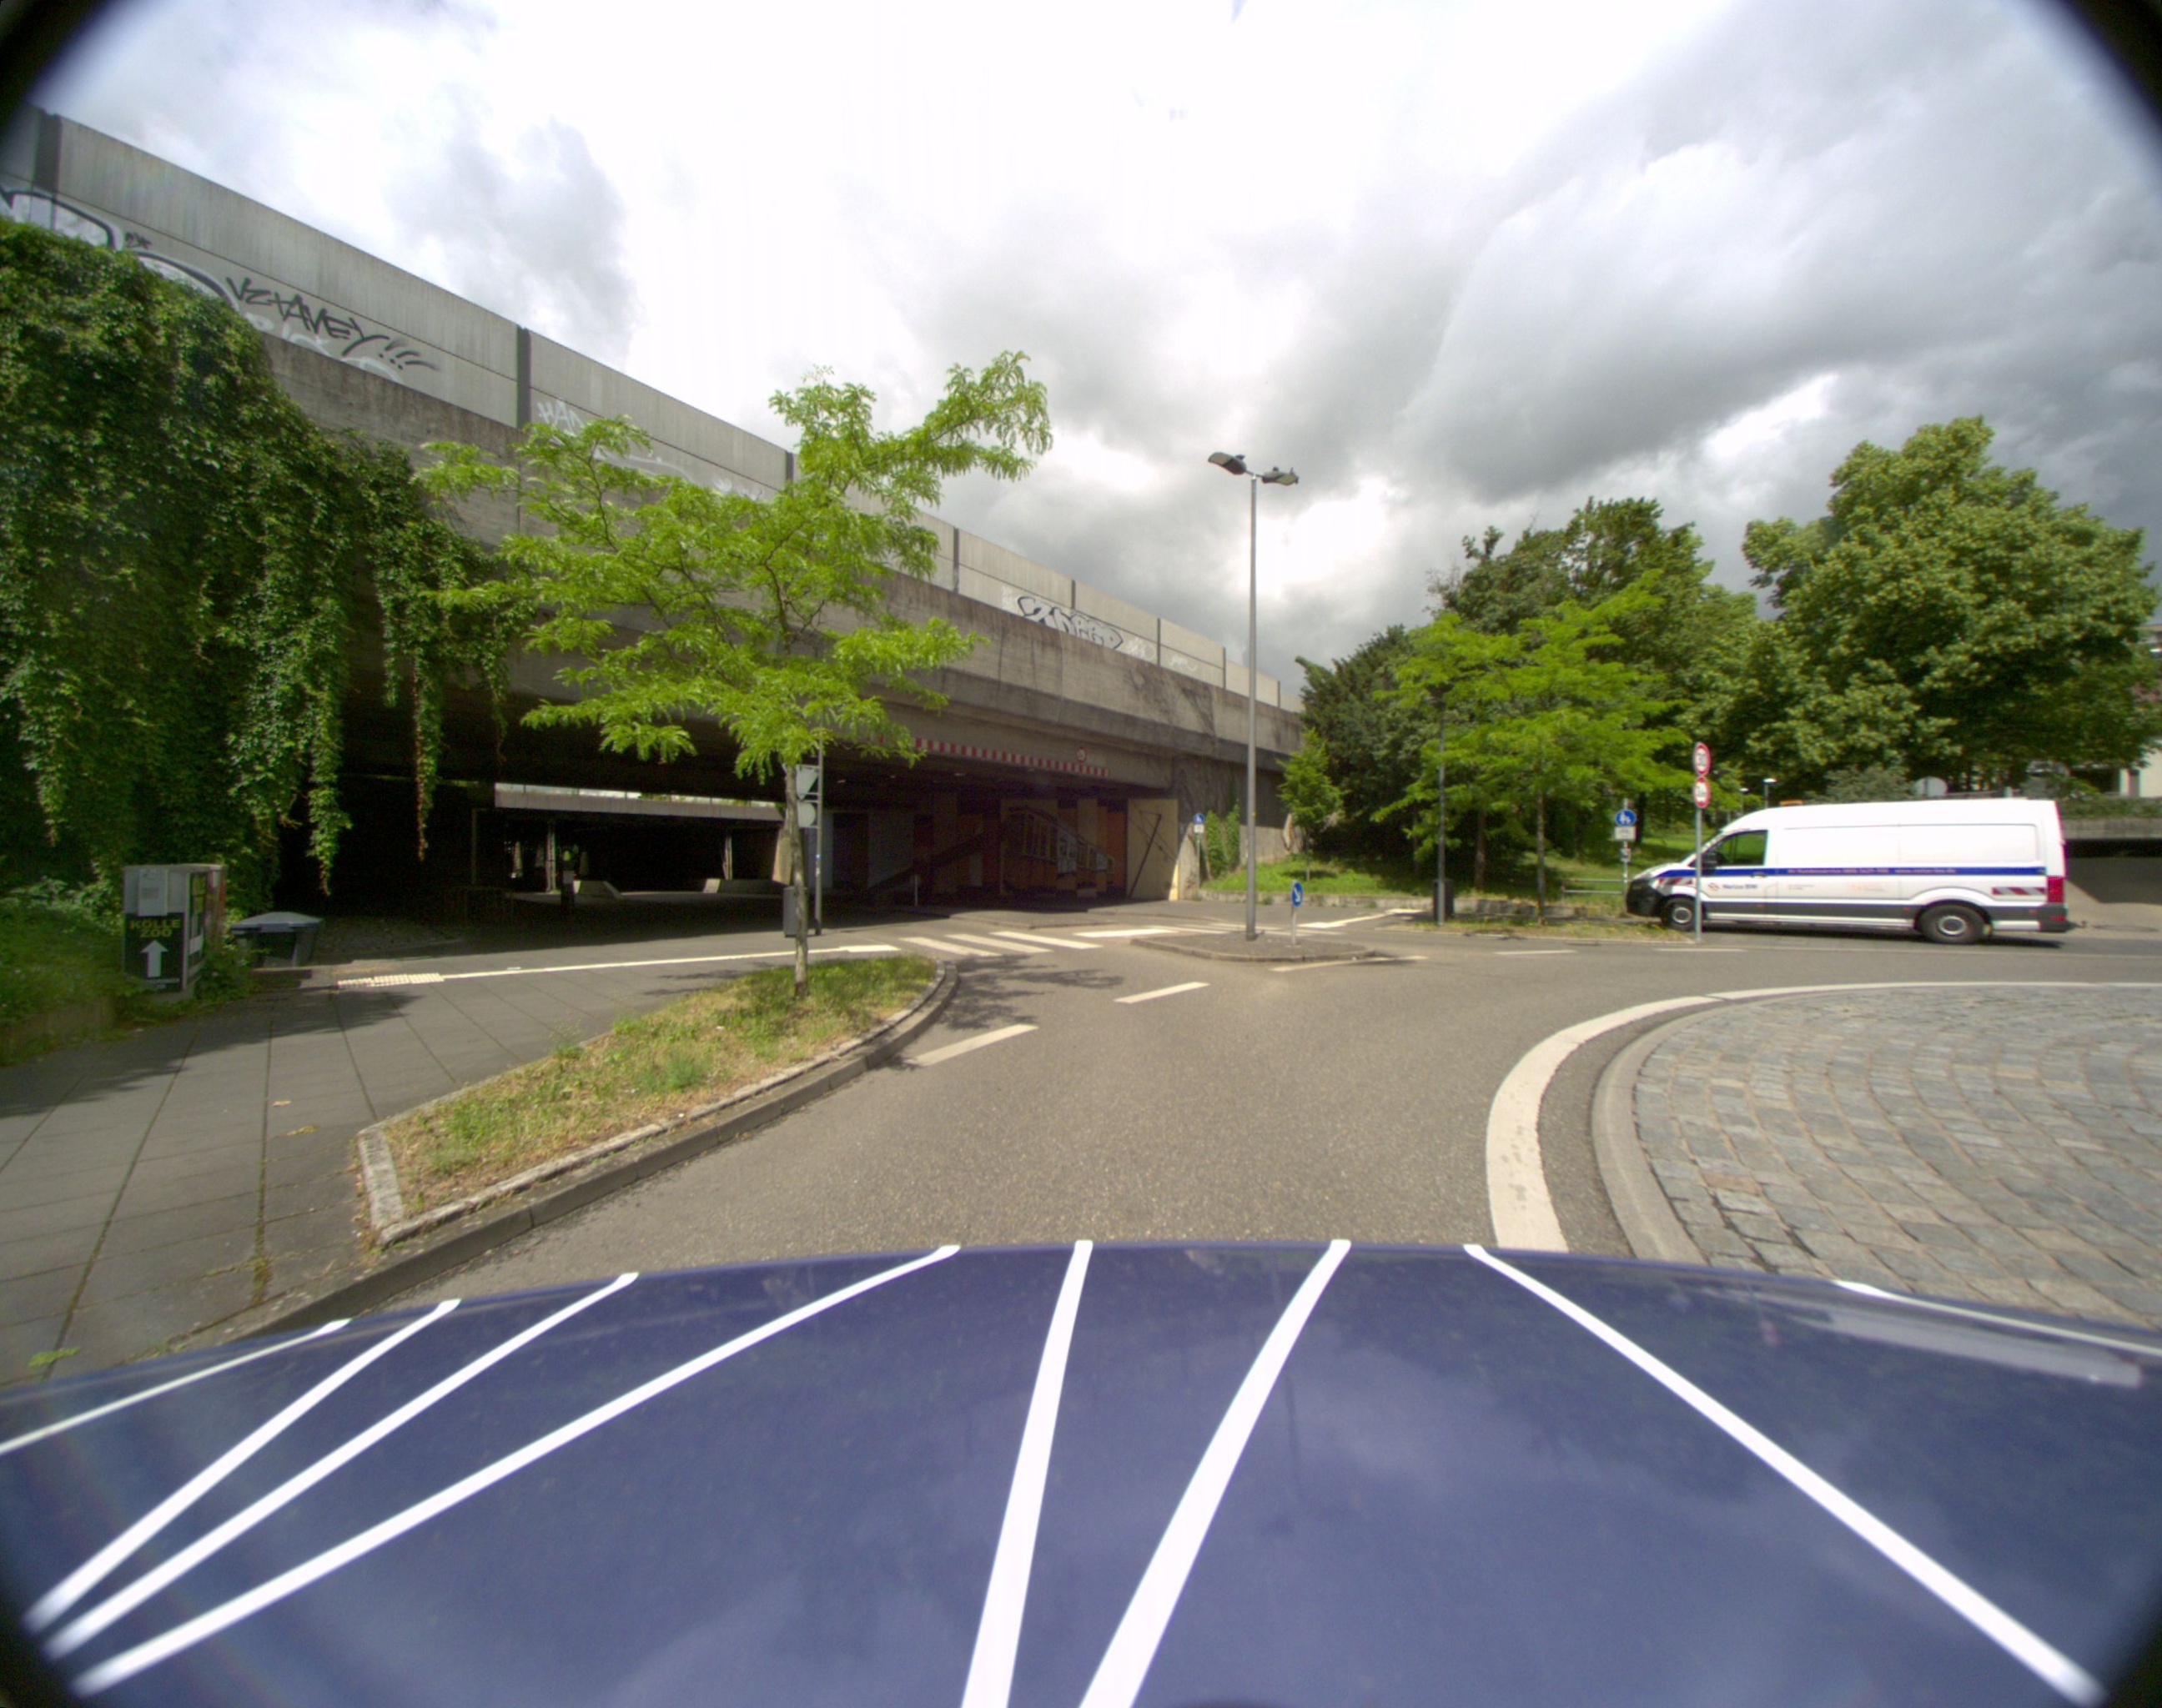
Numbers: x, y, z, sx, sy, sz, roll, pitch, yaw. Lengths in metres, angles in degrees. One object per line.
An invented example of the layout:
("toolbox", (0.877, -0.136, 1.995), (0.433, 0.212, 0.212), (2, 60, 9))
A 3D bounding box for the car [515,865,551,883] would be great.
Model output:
("car", (-51.461, 1.866, 71.353), (4.202, 1.644, 1.835), (-1, -2, 42))

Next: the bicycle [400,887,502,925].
("bicycle", (-16.160, 1.307, 19.523), (0.505, 0.899, 1.956), (1, -1, 42))

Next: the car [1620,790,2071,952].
("car", (14.268, 0.293, 14.847), (5.913, 2.592, 1.978), (-1, 1, 41))

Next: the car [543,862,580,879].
("car", (-43.735, 1.402, 63.988), (3.841, 1.438, 1.681), (-1, -2, 42))
